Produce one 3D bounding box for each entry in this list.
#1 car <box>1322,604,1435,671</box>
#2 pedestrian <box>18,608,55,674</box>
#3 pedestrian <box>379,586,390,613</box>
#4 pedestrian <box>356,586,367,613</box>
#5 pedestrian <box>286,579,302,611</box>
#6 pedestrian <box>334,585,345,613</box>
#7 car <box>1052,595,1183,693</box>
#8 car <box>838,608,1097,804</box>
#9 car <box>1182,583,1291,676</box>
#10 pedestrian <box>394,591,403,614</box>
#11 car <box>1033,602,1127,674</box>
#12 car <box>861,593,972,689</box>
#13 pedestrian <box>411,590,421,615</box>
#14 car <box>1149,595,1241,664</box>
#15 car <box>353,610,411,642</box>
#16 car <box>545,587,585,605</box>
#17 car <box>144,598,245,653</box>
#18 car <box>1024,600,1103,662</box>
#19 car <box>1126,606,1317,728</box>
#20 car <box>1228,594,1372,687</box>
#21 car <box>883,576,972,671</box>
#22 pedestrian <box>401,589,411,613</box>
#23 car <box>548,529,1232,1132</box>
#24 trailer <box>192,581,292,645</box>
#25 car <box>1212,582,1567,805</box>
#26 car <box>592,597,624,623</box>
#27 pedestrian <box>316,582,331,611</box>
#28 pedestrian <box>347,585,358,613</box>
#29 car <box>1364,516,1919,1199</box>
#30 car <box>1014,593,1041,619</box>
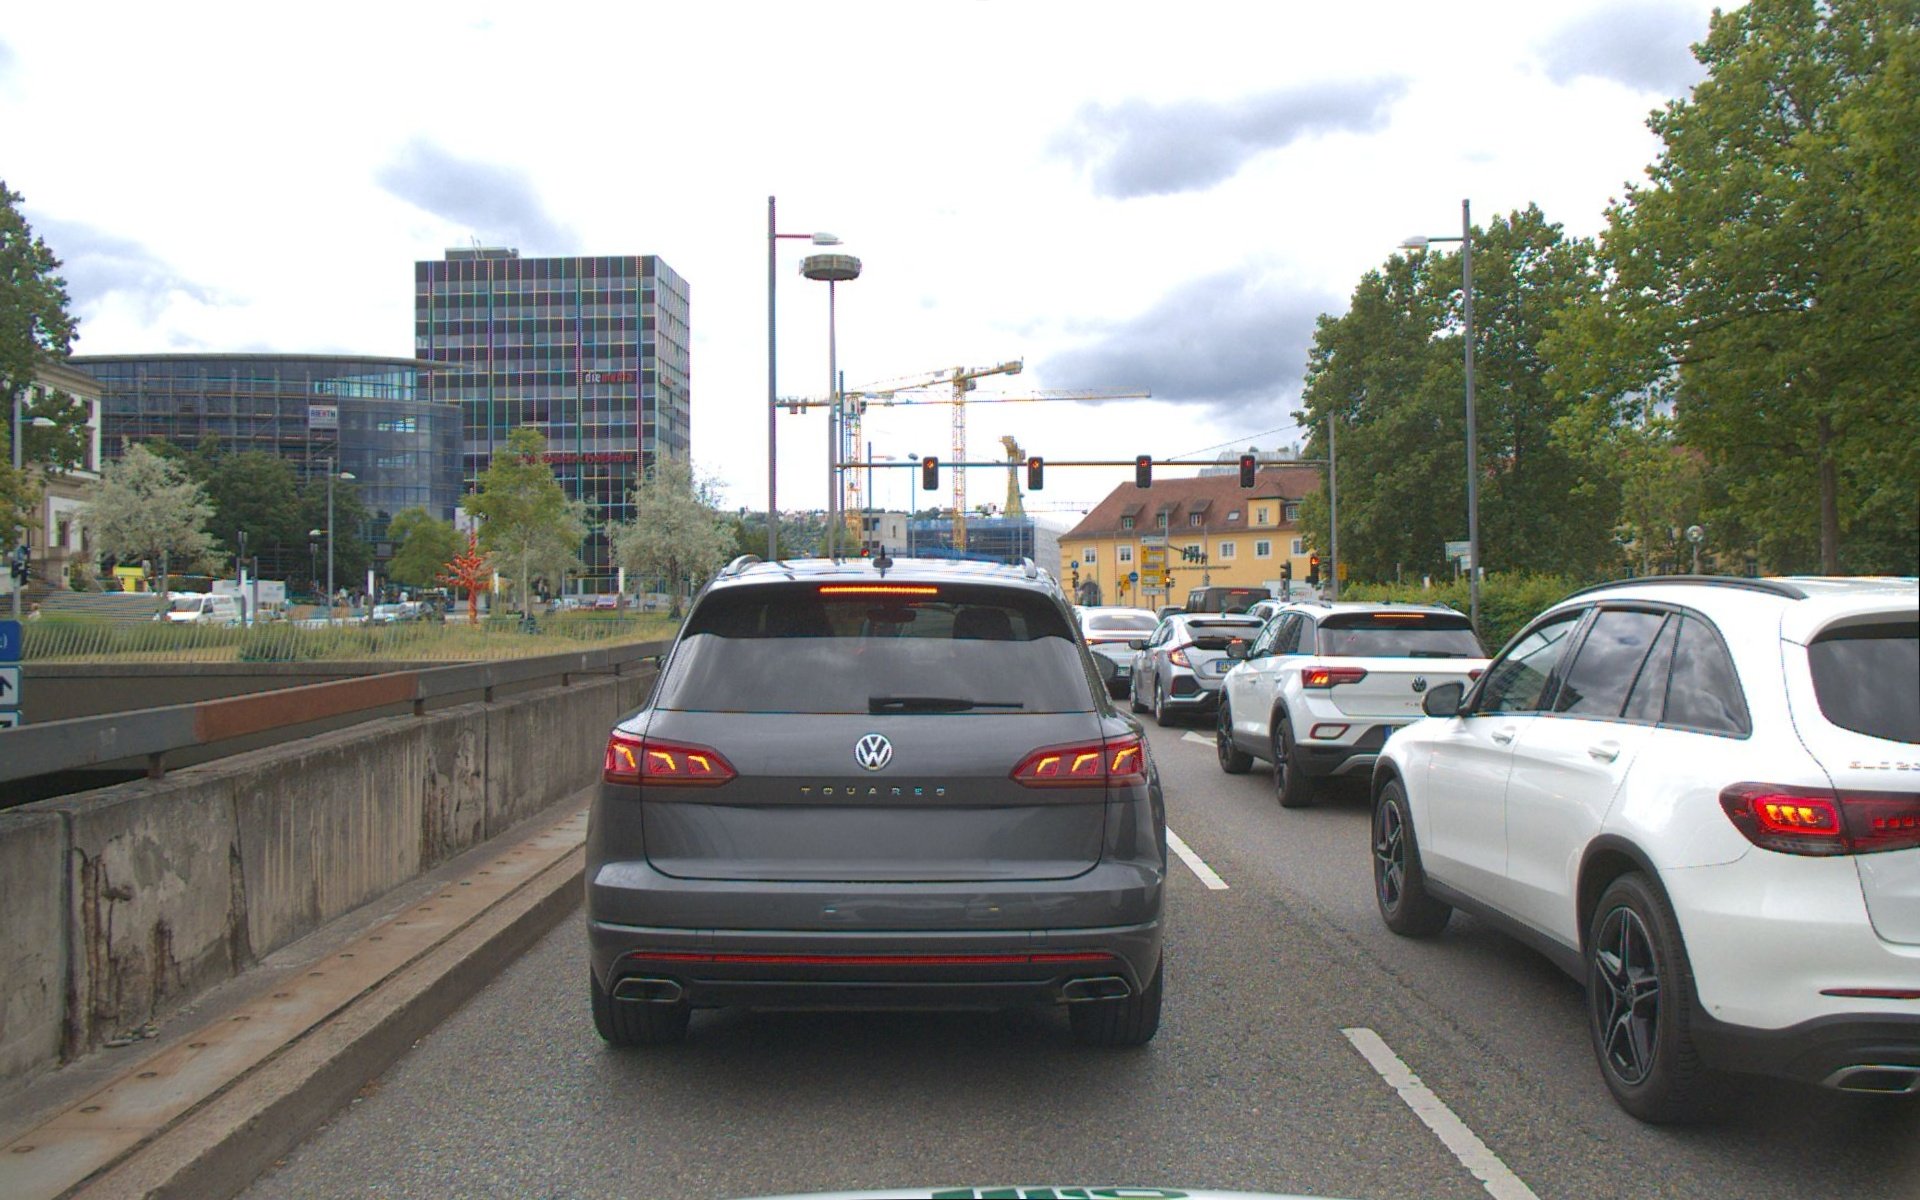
[{"bbox_3d":[10.086,0.904,40.153,1.891,1.485,4.529,1,-1,4],"label":"car"},{"bbox_3d":[-29.367,1.306,52.592,0.856,2.049,0.619,-1,1,-45],"label":"pedestrian"},{"bbox_3d":[-44.620,-0.057,128.279,0.726,2.049,0.789,-1,1,-16],"label":"pedestrian"},{"bbox_3d":[-45.669,-0.014,126.226,0.728,2.049,1.076,-1,1,-22],"label":"pedestrian"},{"bbox_3d":[-42.749,-0.305,106.160,0.724,2.049,0.792,0,-2,-4],"label":"pedestrian"},{"bbox_3d":[-46.567,-0.098,124.164,0.727,2.049,0.915,-1,1,-20],"label":"pedestrian"},{"bbox_3d":[2.673,0.735,28.951,1.887,1.556,4.489,1,-1,0],"label":"car"},{"bbox_3d":[0.024,0.810,14.385,1.912,1.408,3.930,2,0,-1],"label":"car"},{"bbox_3d":[6.485,0.682,39.199,1.871,2.049,4.011,2,-1,0],"label":"car"},{"bbox_3d":[-51.155,0.247,150.672,0.728,2.049,0.787,-1,1,-23],"label":"pedestrian"},{"bbox_3d":[2.688,0.848,37.771,1.887,1.556,4.047,1,-1,0],"label":"car"},{"bbox_3d":[-0.797,0.722,31.002,1.912,1.628,3.930,2,0,-1],"label":"car"},{"bbox_3d":[-46.317,0.203,140.759,0.726,2.049,0.789,-1,1,-16],"label":"pedestrian"},{"bbox_3d":[6.305,0.795,44.775,1.871,1.727,4.011,2,-1,0],"label":"car"},{"bbox_3d":[-28.950,1.324,82.923,1.697,1.521,3.592,2,-1,-3],"label":"car"},{"bbox_3d":[-45.807,-0.487,191.763,4.367,2.049,1.994,1,-2,33],"label":"car"},{"bbox_3d":[-31.370,1.009,67.941,1.953,2.048,4.692,0,1,0],"label":"car"},{"bbox_3d":[2.709,0.816,44.059,1.887,1.556,4.047,1,-1,0],"label":"car"},{"bbox_3d":[3.390,0.836,22.236,1.887,1.457,4.489,1,-1,0],"label":"car"},{"bbox_3d":[6.542,0.731,32.282,1.952,1.668,4.305,0,1,0],"label":"car"},{"bbox_3d":[-0.752,0.530,38.538,1.912,2.053,3.930,2,0,-1],"label":"car"},{"bbox_3d":[-47.146,0.060,140.682,0.726,2.049,0.789,-1,1,-16],"label":"pedestrian"},{"bbox_3d":[-0.226,0.653,6.646,1.912,1.680,3.999,0,0,-1],"label":"car"},{"bbox_3d":[-31.630,0.536,73.054,1.996,2.650,5.507,2,1,-1],"label":"trailer"},{"bbox_3d":[3.418,0.699,14.071,1.887,1.578,4.489,1,-1,0],"label":"car"},{"bbox_3d":[-30.092,0.857,141.324,1.954,2.048,4.689,0,1,-3],"label":"car"},{"bbox_3d":[-45.484,-0.225,118.264,0.723,2.049,0.793,-1,1,0],"label":"pedestrian"},{"bbox_3d":[-45.687,-0.065,124.447,0.727,2.049,0.915,-1,1,-20],"label":"pedestrian"},{"bbox_3d":[2.992,0.643,6.216,1.887,1.682,4.490,0,0,0],"label":"car"},{"bbox_3d":[4.544,0.413,111.457,1.586,1.656,3.999,2,-1,0],"label":"car"}]
